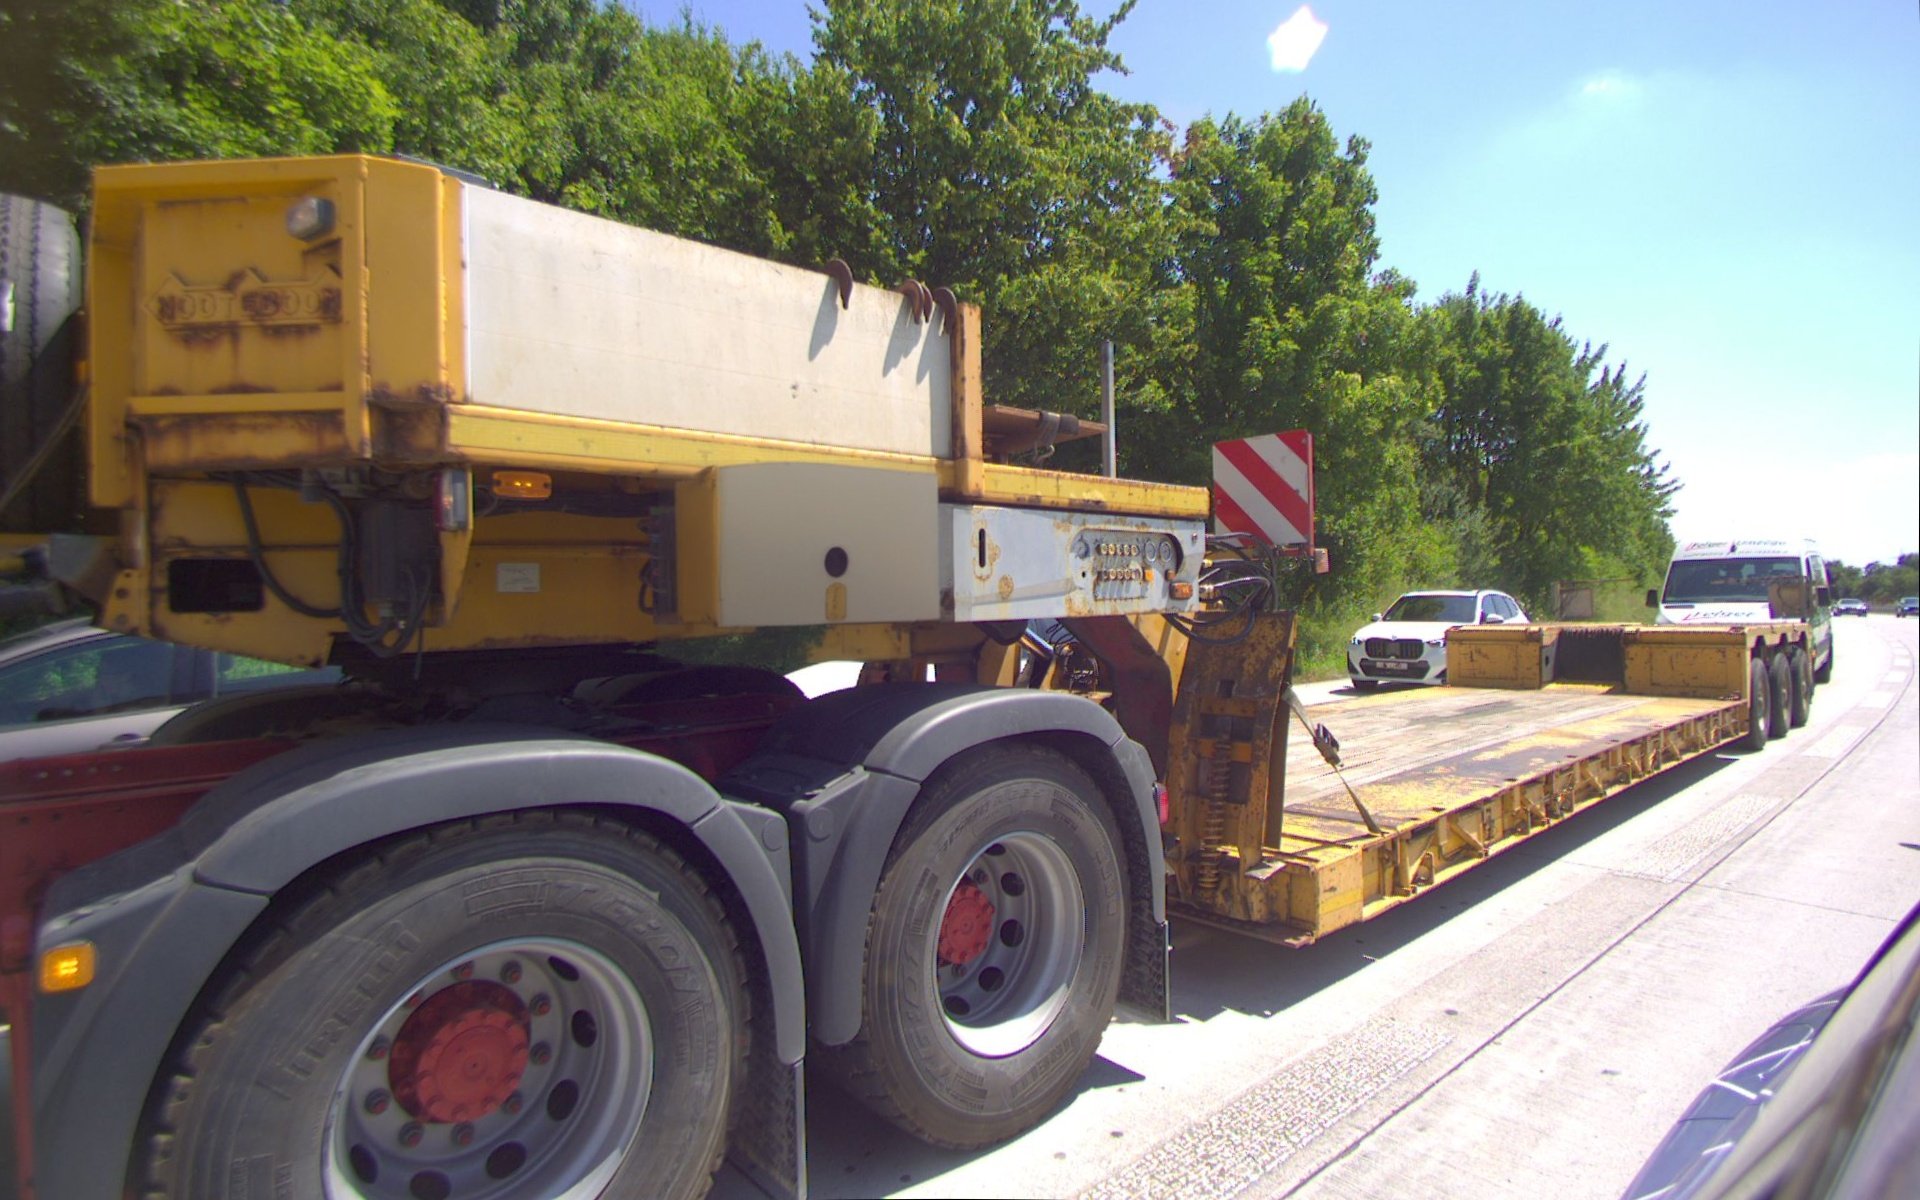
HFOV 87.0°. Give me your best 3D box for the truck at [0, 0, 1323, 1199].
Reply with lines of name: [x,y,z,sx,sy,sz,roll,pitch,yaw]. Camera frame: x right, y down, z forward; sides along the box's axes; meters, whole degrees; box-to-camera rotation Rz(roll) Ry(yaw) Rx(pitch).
truck: [-2.440,-0.507,2.223,7.343,3.820,3.017,-1,0,-42]

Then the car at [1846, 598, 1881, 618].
car: [73.541,0.647,82.419,1.883,1.482,3.944,0,1,39]

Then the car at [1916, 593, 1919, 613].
car: [74.911,0.201,77.870,1.700,1.482,3.942,0,1,40]

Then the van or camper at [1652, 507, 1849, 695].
van or camper: [13.290,-0.035,16.831,2.062,2.606,5.816,0,1,43]

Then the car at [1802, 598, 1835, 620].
car: [64.378,0.633,75.930,1.765,1.581,4.306,0,1,40]

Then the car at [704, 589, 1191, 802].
car: [0.097,0.659,9.383,4.521,1.480,1.769,-1,1,-43]

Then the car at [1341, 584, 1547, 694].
car: [8.066,0.533,16.666,1.768,1.581,4.298,0,1,45]

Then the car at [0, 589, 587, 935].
car: [-4.440,0.704,5.370,4.292,1.480,1.769,-1,1,-44]

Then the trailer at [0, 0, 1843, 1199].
trailer: [3.432,0.060,7.596,16.077,2.626,3.031,0,0,-42]
